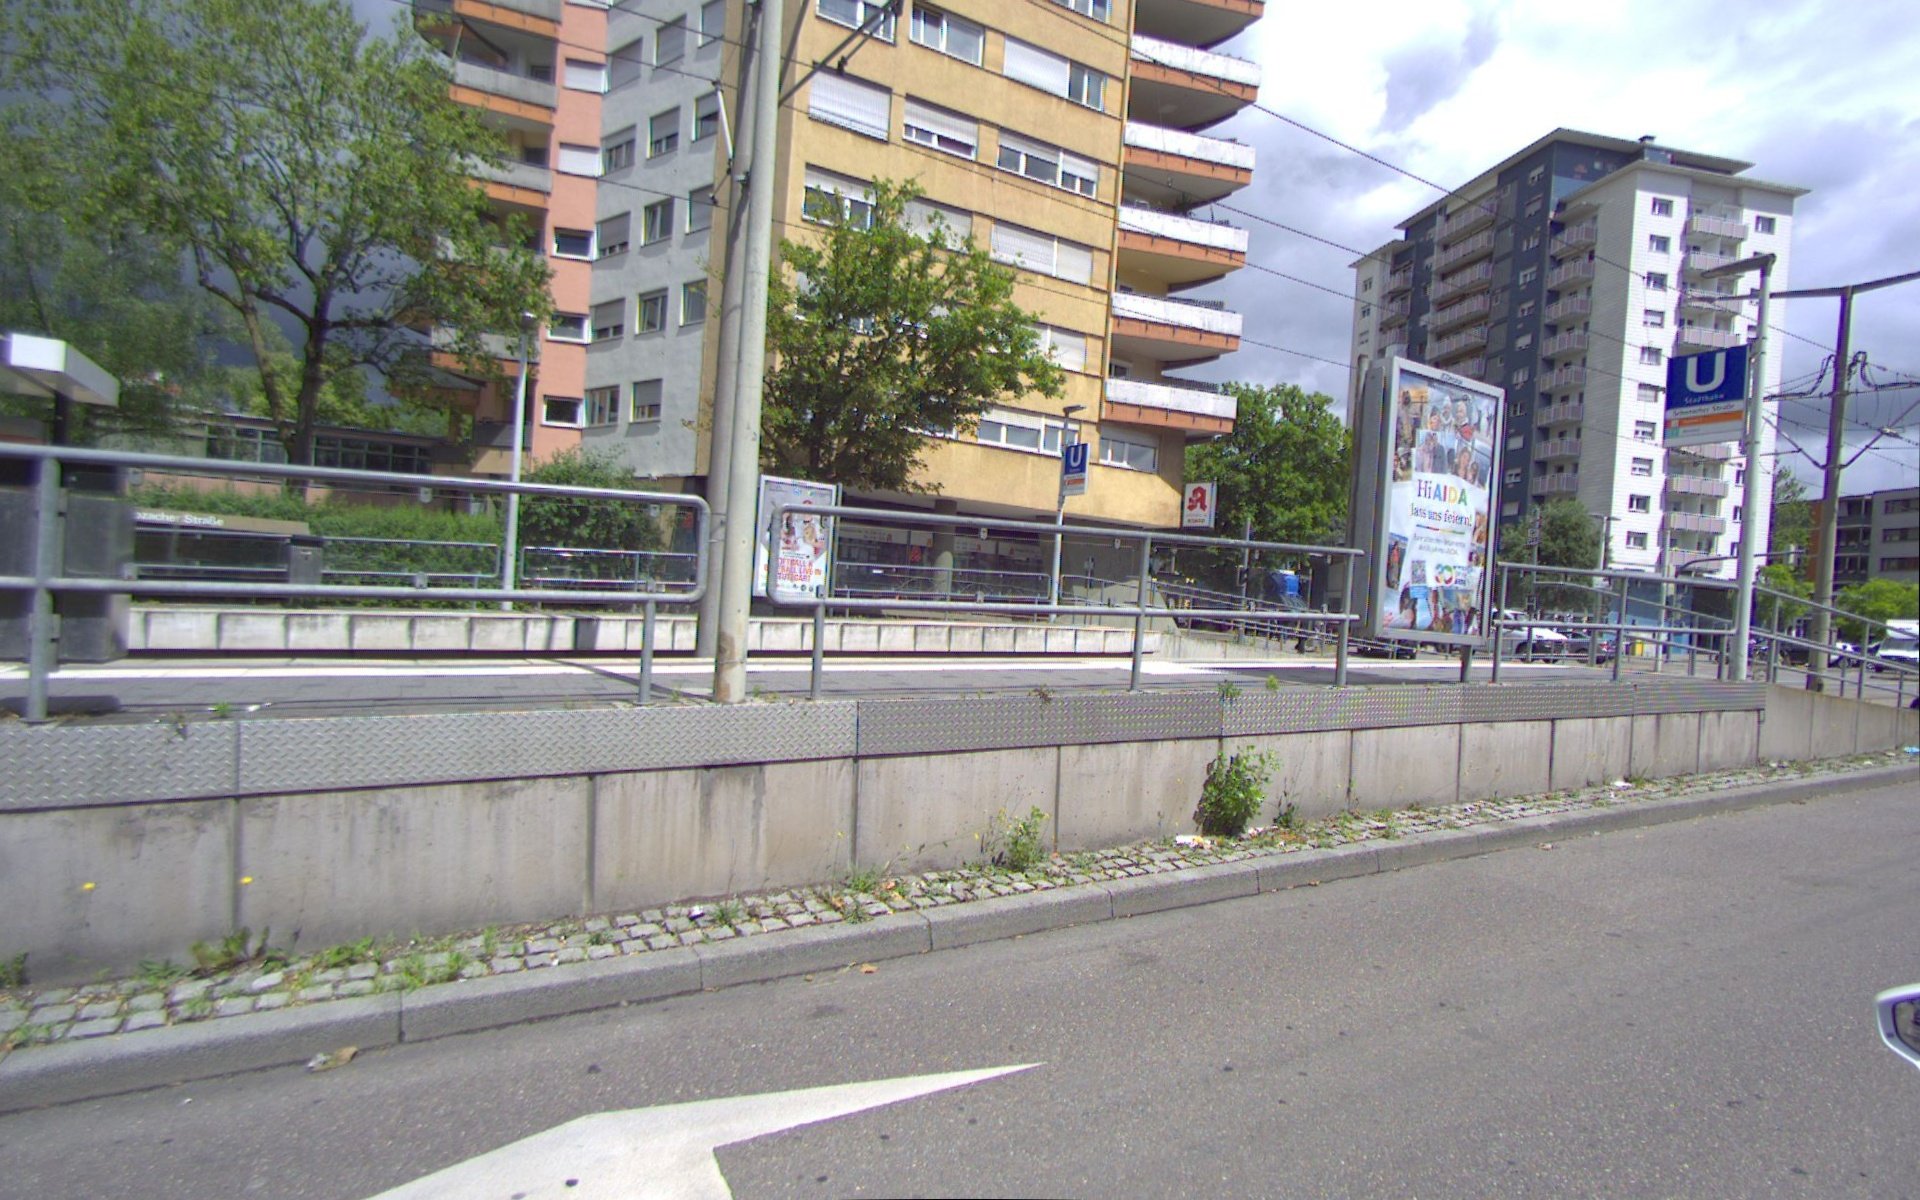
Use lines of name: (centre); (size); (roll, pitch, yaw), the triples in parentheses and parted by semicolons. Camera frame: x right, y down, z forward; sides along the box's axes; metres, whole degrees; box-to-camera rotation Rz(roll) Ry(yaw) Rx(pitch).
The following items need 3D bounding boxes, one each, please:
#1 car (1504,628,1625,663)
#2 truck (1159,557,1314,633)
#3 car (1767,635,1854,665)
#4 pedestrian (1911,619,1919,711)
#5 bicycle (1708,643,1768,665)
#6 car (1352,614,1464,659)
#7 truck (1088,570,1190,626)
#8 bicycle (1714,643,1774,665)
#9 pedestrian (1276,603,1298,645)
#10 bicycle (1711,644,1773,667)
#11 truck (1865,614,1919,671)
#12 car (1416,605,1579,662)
car: (27.531, 2.068, 45.860); (1.663, 1.346, 4.412); (2, 0, -36)
truck: (13.334, -0.255, 49.037); (2.583, 3.393, 7.217); (2, 0, -36)
car: (54.071, 3.180, 63.952); (3.845, 1.669, 1.657); (2, 0, 14)
pedestrian: (18.850, 1.265, 19.377); (0.680, 1.757, 0.683); (2, 0, 45)
bicycle: (42.559, 2.957, 54.983); (2.521, 1.022, 0.754); (4, 0, 33)
car: (15.372, 1.265, 34.442); (3.820, 1.424, 1.571); (2, 0, -30)
truck: (7.986, -0.109, 45.239); (2.323, 2.320, 4.260); (2, 0, -29)
bicycle: (43.419, 2.986, 55.676); (2.521, 1.022, 0.754); (4, 0, 33)
pedestrian: (11.759, 0.860, 36.099); (0.541, 1.459, 0.497); (2, 0, -19)
bicycle: (42.142, 2.968, 54.164); (2.521, 1.022, 0.754); (4, 0, 33)
truck: (56.172, 2.515, 59.359); (7.244, 3.159, 2.267); (2, 0, -34)
car: (20.240, 1.224, 38.087); (1.978, 1.918, 5.140); (2, 0, -32)
